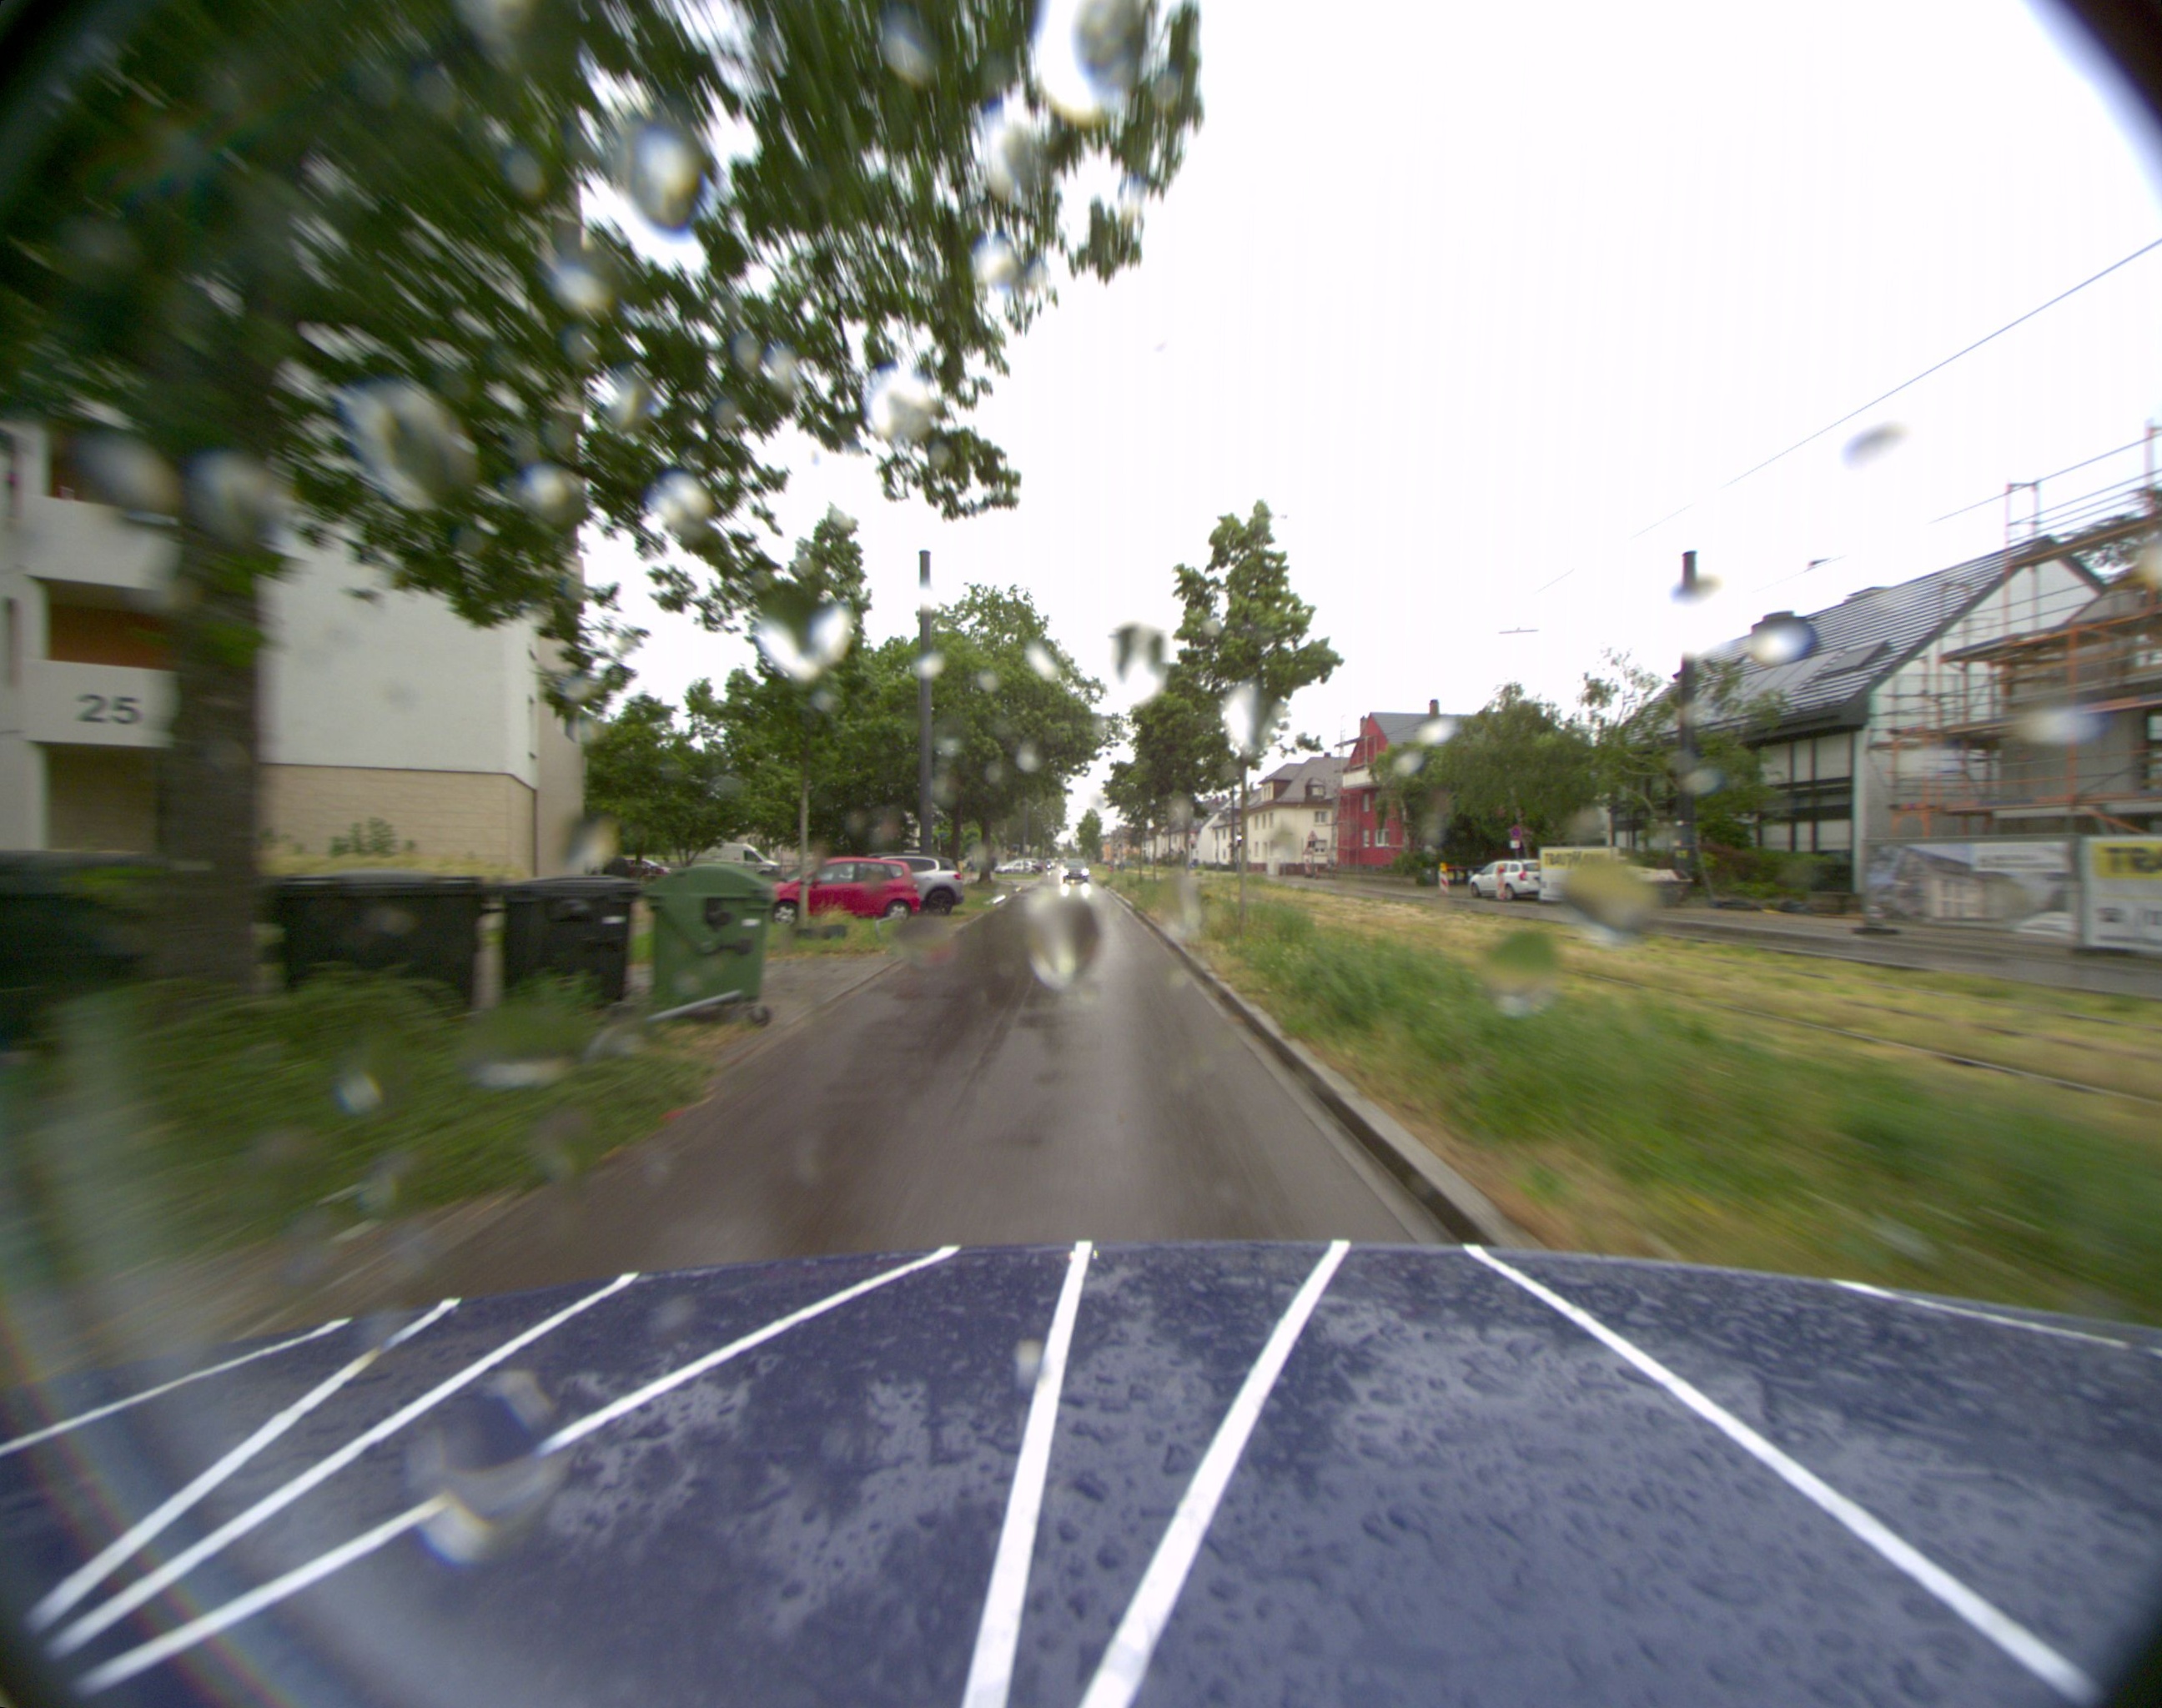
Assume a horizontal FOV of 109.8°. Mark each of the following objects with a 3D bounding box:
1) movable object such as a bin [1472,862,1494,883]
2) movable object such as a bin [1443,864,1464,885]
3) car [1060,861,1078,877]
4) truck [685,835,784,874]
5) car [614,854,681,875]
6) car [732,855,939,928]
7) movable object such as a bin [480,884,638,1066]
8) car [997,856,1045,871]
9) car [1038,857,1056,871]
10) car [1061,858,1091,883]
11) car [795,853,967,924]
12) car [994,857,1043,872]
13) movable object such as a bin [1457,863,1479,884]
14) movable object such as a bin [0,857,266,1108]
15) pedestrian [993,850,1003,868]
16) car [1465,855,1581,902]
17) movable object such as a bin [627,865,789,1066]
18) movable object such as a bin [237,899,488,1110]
[{"bbox_3d":[23.024,1.049,43.566,0.812,1.141,0.821,-1,1,0],"label":"movable object such as a bin"},{"bbox_3d":[21.376,1.189,43.604,0.812,1.141,0.821,-1,1,0],"label":"movable object such as a bin"},{"bbox_3d":[-1.411,1.734,90.607,1.998,1.762,4.000,-1,1,2],"label":"car"},{"bbox_3d":[-22.983,-0.012,50.656,5.680,2.424,2.121,-1,1,-17],"label":"truck"},{"bbox_3d":[-27.811,0.654,48.879,3.422,1.275,1.598,-1,1,-17],"label":"car"},{"bbox_3d":[-5.471,0.830,17.117,4.055,1.479,1.720,3,-1,-35],"label":"car"},{"bbox_3d":[-4.469,0.947,6.519,0.999,1.305,1.183,-2,1,-37],"label":"movable object such as a bin"},{"bbox_3d":[-6.207,0.978,78.813,4.485,1.320,1.995,-2,1,-28],"label":"car"},{"bbox_3d":[-4.448,1.285,98.949,1.998,1.696,4.000,-1,1,2],"label":"car"},{"bbox_3d":[-0.316,1.124,54.026,1.998,1.611,3.999,-1,1,1],"label":"car"},{"bbox_3d":[-5.247,0.818,20.161,4.054,1.676,1.720,-1,1,-35],"label":"car"},{"bbox_3d":[-6.216,0.982,75.589,4.486,1.320,1.995,-2,1,-29],"label":"car"},{"bbox_3d":[22.185,1.105,43.565,0.812,1.141,0.821,-1,1,0],"label":"movable object such as a bin"},{"bbox_3d":[-6.421,0.743,4.935,1.370,1.414,1.183,-2,1,-41],"label":"movable object such as a bin"},{"bbox_3d":[-9.751,0.578,89.372,1.014,2.002,1.158,-1,1,-2],"label":"pedestrian"},{"bbox_3d":[17.263,0.889,29.941,1.999,1.618,4.250,-1,1,-2],"label":"car"},{"bbox_3d":[-3.330,0.910,6.951,1.165,1.553,1.372,-2,1,-22],"label":"movable object such as a bin"},{"bbox_3d":[-5.394,1.028,5.781,1.244,1.244,1.183,-2,2,-43],"label":"movable object such as a bin"}]
